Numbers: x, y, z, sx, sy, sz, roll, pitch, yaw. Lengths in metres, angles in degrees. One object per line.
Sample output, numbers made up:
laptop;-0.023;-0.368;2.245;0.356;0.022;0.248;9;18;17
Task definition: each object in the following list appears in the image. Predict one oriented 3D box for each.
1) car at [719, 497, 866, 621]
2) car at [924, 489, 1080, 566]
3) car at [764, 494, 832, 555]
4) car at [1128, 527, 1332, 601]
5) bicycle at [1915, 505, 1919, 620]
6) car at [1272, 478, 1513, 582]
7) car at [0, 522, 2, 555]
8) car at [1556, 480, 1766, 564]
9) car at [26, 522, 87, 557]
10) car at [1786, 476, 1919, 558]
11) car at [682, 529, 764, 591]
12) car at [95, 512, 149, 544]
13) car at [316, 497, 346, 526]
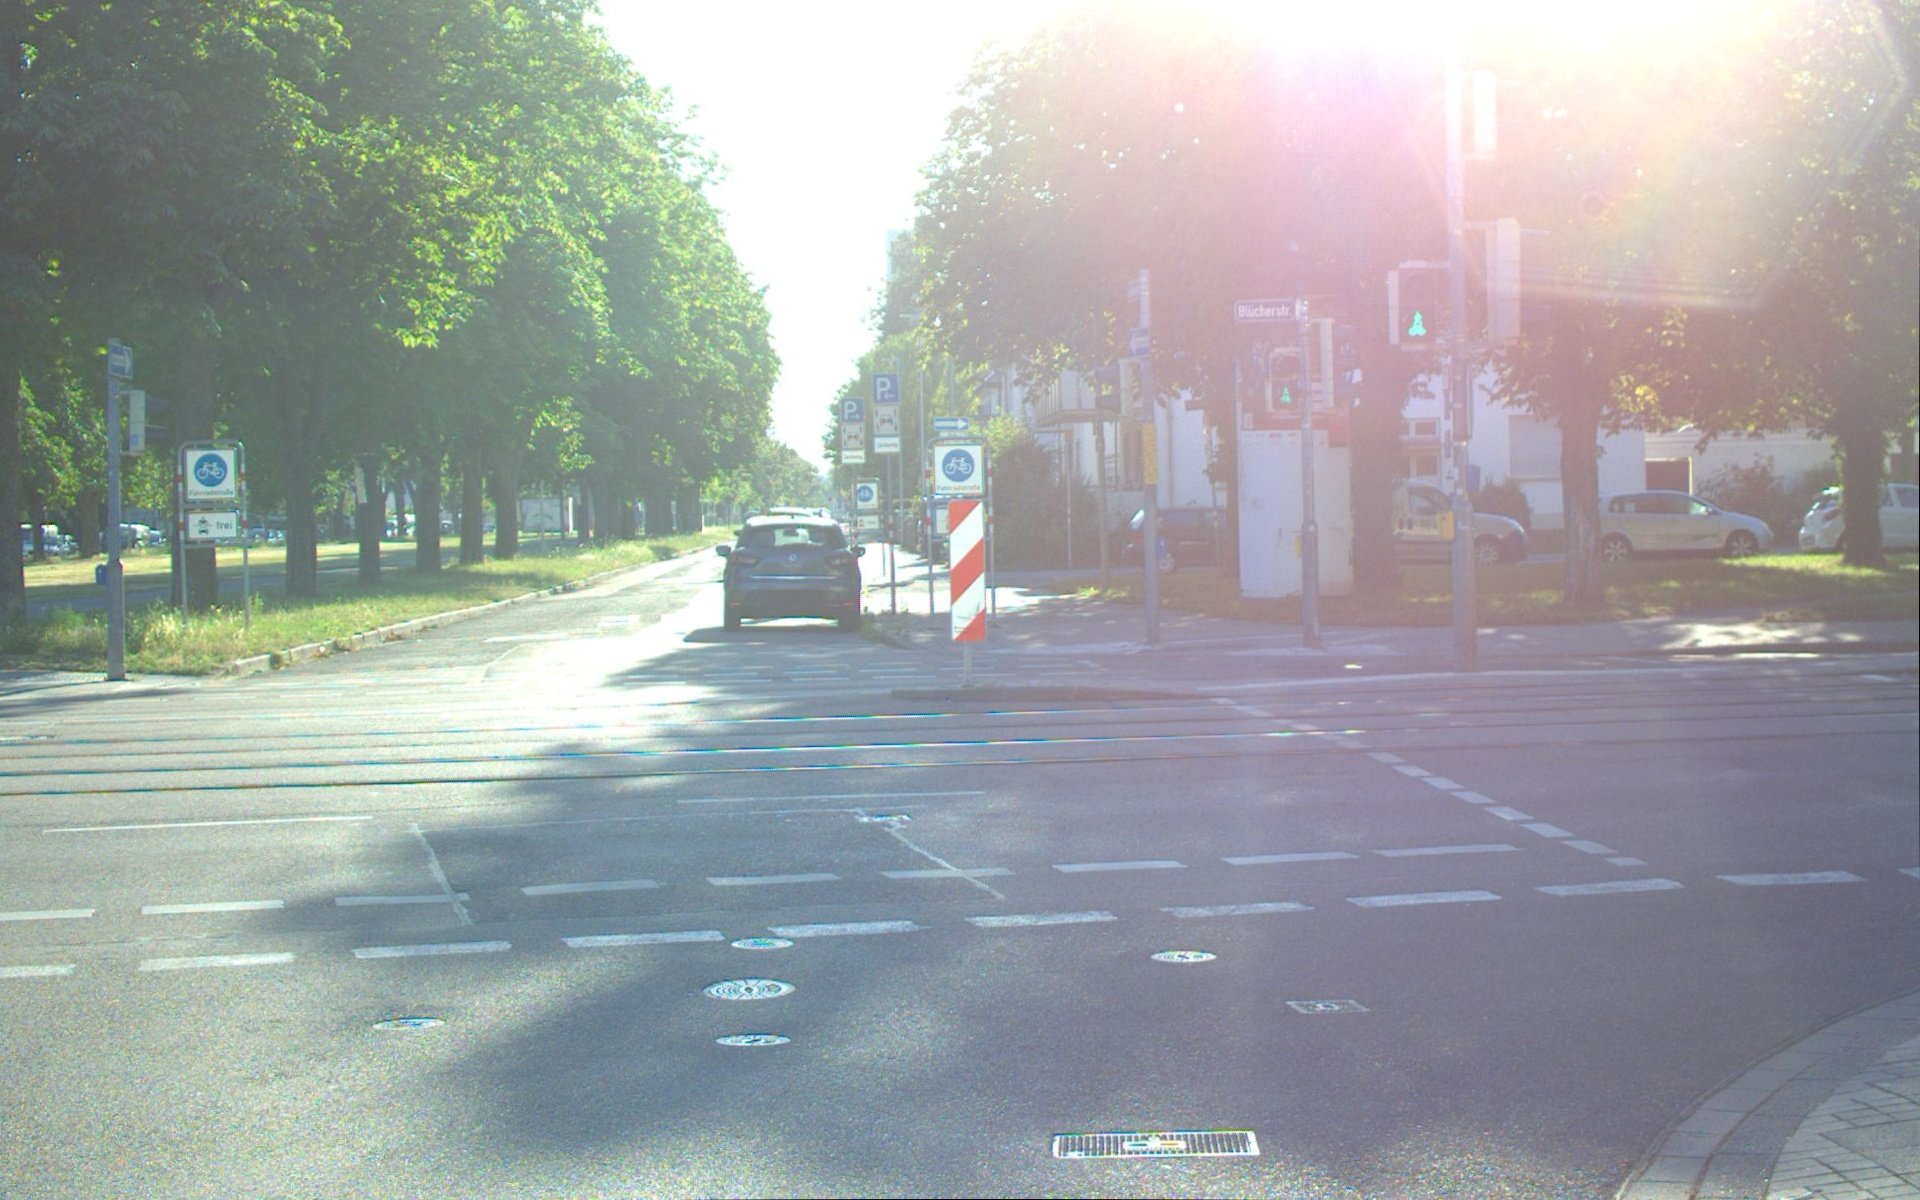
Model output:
car;-2.121;-0.527;44.543;1.725;1.506;4.541;1;1;-1
car;1.134;-1.970;93.596;3.986;1.816;1.760;-2;-4;-6
car;-4.900;-2.305;103.716;1.993;1.775;4.001;1;2;-3
car;5.523;-0.736;70.665;3.986;1.442;1.716;-1;1;-2
bicycle;9.972;-0.368;32.964;1.522;1.085;0.467;-1;5;8
car;8.210;-1.321;65.557;4.241;1.868;2.031;-1;1;-2
car;-49.697;-3.106;172.648;1.993;1.653;4.355;1;1;-1
car;13.284;-1.476;65.261;3.552;1.510;1.606;-1;1;-8
car;-44.017;-2.918;167.535;2.022;1.653;3.984;1;1;-2
car;18.022;-1.585;65.987;3.920;1.518;1.524;0;0;-7
car;-5.375;-0.908;78.313;1.709;1.355;4.203;1;1;-2
car;-45.546;-3.917;186.869;1.993;1.653;4.571;-1;2;-3
car;-46.462;-6.531;253.960;1.654;1.932;3.568;1;-1;-3
